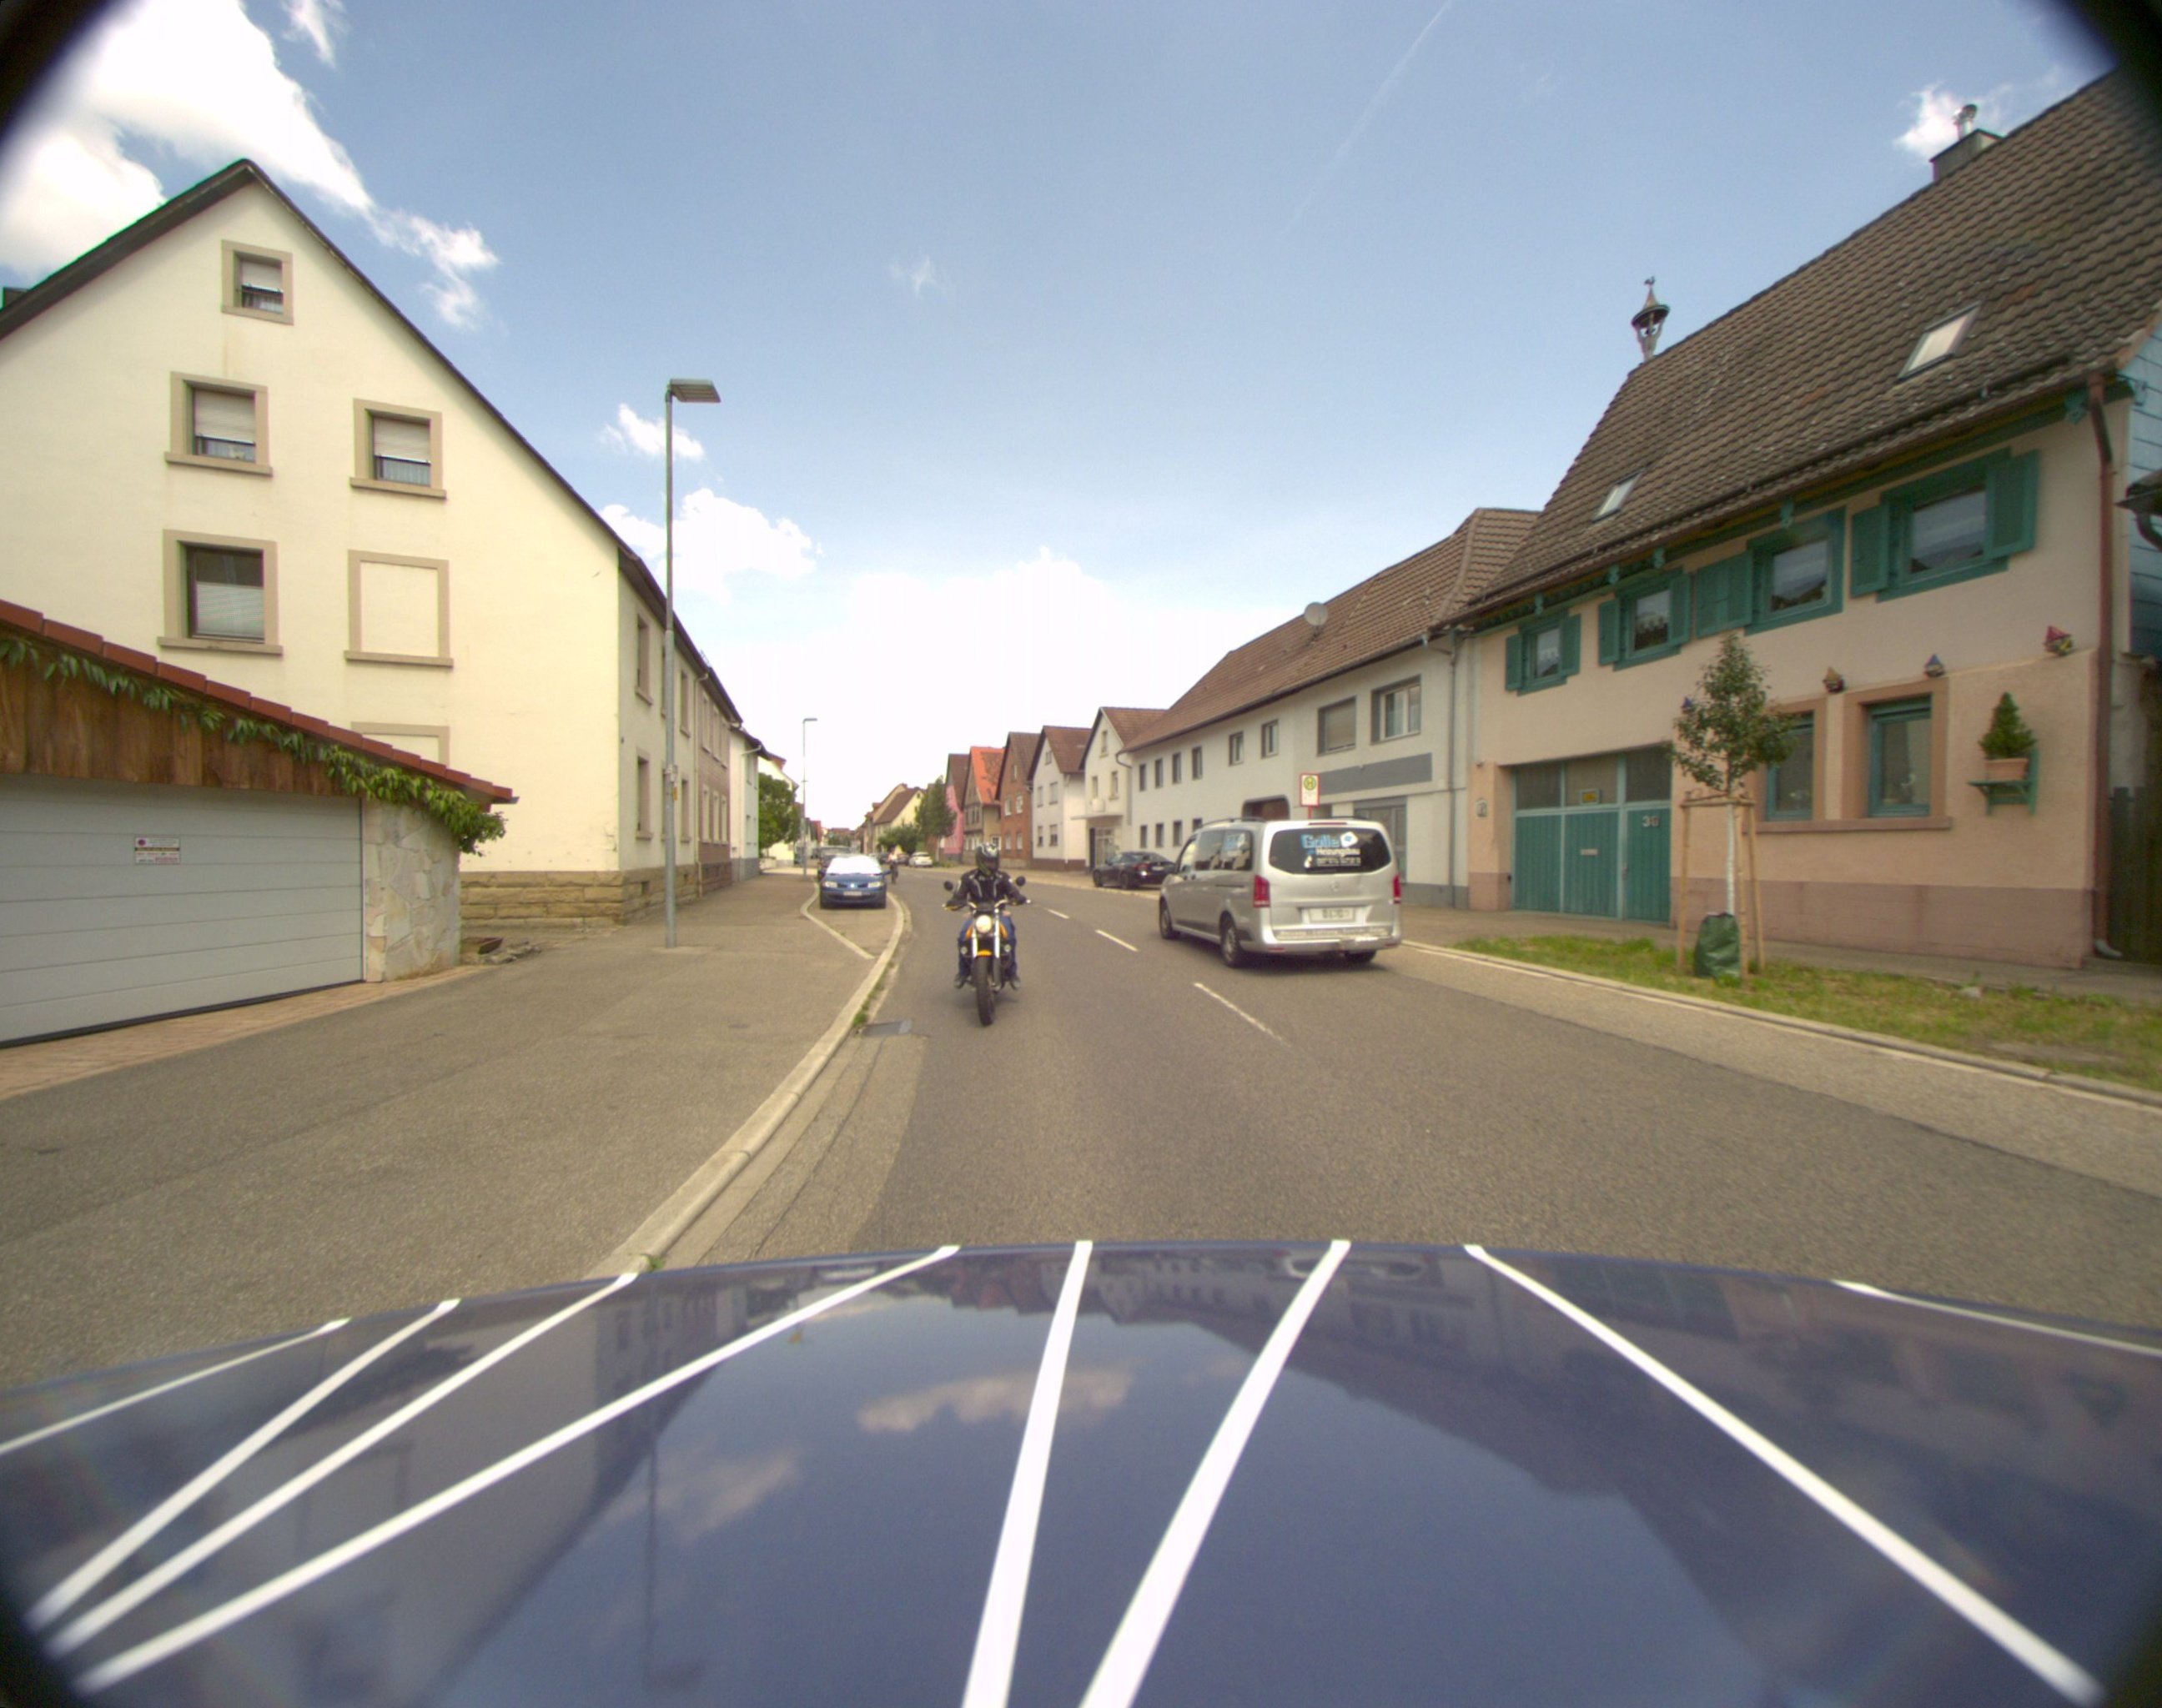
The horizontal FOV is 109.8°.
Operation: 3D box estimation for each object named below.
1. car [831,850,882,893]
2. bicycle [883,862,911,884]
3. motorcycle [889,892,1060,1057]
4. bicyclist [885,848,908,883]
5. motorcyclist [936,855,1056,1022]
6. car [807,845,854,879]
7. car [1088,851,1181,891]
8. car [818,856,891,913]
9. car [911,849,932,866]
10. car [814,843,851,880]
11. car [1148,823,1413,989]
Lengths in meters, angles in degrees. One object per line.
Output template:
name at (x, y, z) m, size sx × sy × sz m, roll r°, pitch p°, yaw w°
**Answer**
car at (-8.777, 0.688, 29.765) m, size 1.775 × 1.520 × 3.995 m, roll -1°, pitch -1°, yaw -16°
bicycle at (-9.049, 0.908, 37.359) m, size 0.934 × 1.005 × 1.924 m, roll -1°, pitch 0°, yaw -2°
motorcycle at (-0.924, 1.061, 7.346) m, size 0.984 × 1.234 × 2.104 m, roll -2°, pitch 0°, yaw 10°
bicyclist at (-9.058, 0.560, 37.356) m, size 0.909 × 1.679 × 0.761 m, roll -1°, pitch 2°, yaw -1°
motorcyclist at (-0.851, 0.833, 7.817) m, size 0.999 × 1.591 × 0.800 m, roll -1°, pitch 2°, yaw 10°
car at (-12.962, 0.389, 39.187) m, size 1.668 × 1.638 × 3.991 m, roll -2°, pitch 1°, yaw -26°
car at (1.894, 0.602, 28.592) m, size 1.773 × 1.341 × 4.748 m, roll -2°, pitch 0°, yaw -19°
car at (-6.432, 0.793, 21.883) m, size 1.729 × 1.378 × 3.994 m, roll 0°, pitch 2°, yaw -13°
car at (-15.700, 0.360, 74.577) m, size 1.686 × 1.521 × 3.493 m, roll -2°, pitch 2°, yaw -17°
car at (-14.737, 0.376, 44.972) m, size 1.933 × 1.905 × 5.236 m, roll -2°, pitch 2°, yaw -19°
car at (2.482, 0.497, 10.957) m, size 2.000 × 1.790 × 4.931 m, roll -2°, pitch 2°, yaw -7°
